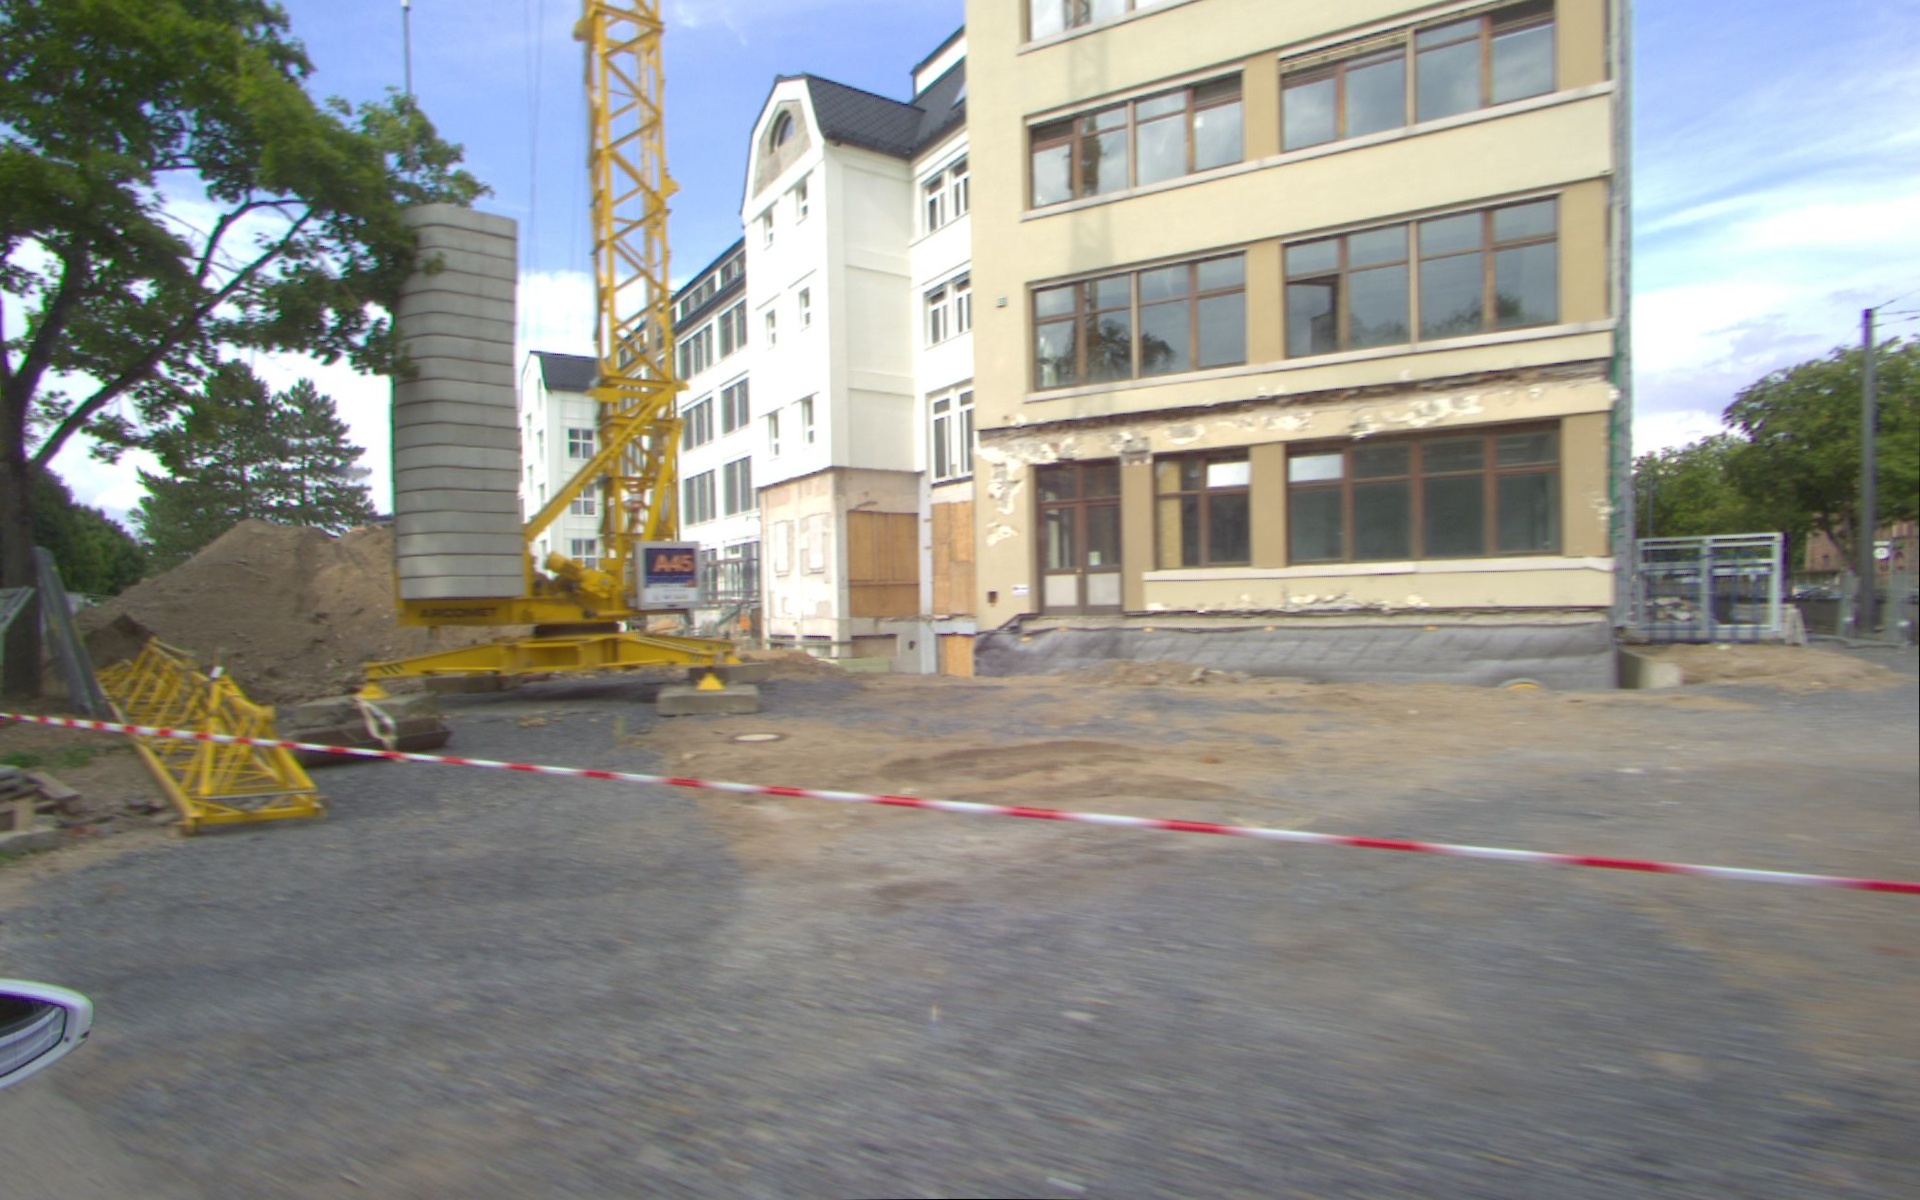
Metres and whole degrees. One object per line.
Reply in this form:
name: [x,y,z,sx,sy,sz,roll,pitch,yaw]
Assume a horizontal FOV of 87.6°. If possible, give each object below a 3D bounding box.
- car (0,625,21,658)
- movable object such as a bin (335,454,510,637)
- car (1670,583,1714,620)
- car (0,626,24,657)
car: [-47.110,1.978,46.670,4.756,1.508,1.982,0,0,-41]
movable object such as a bin: [-22.485,-1.992,42.851,3.786,6.757,10.975,0,0,-13]
car: [56.551,0.097,77.458,1.698,2.740,5.451,0,0,25]
car: [-48.963,2.066,48.809,4.756,1.508,1.982,0,0,-41]
